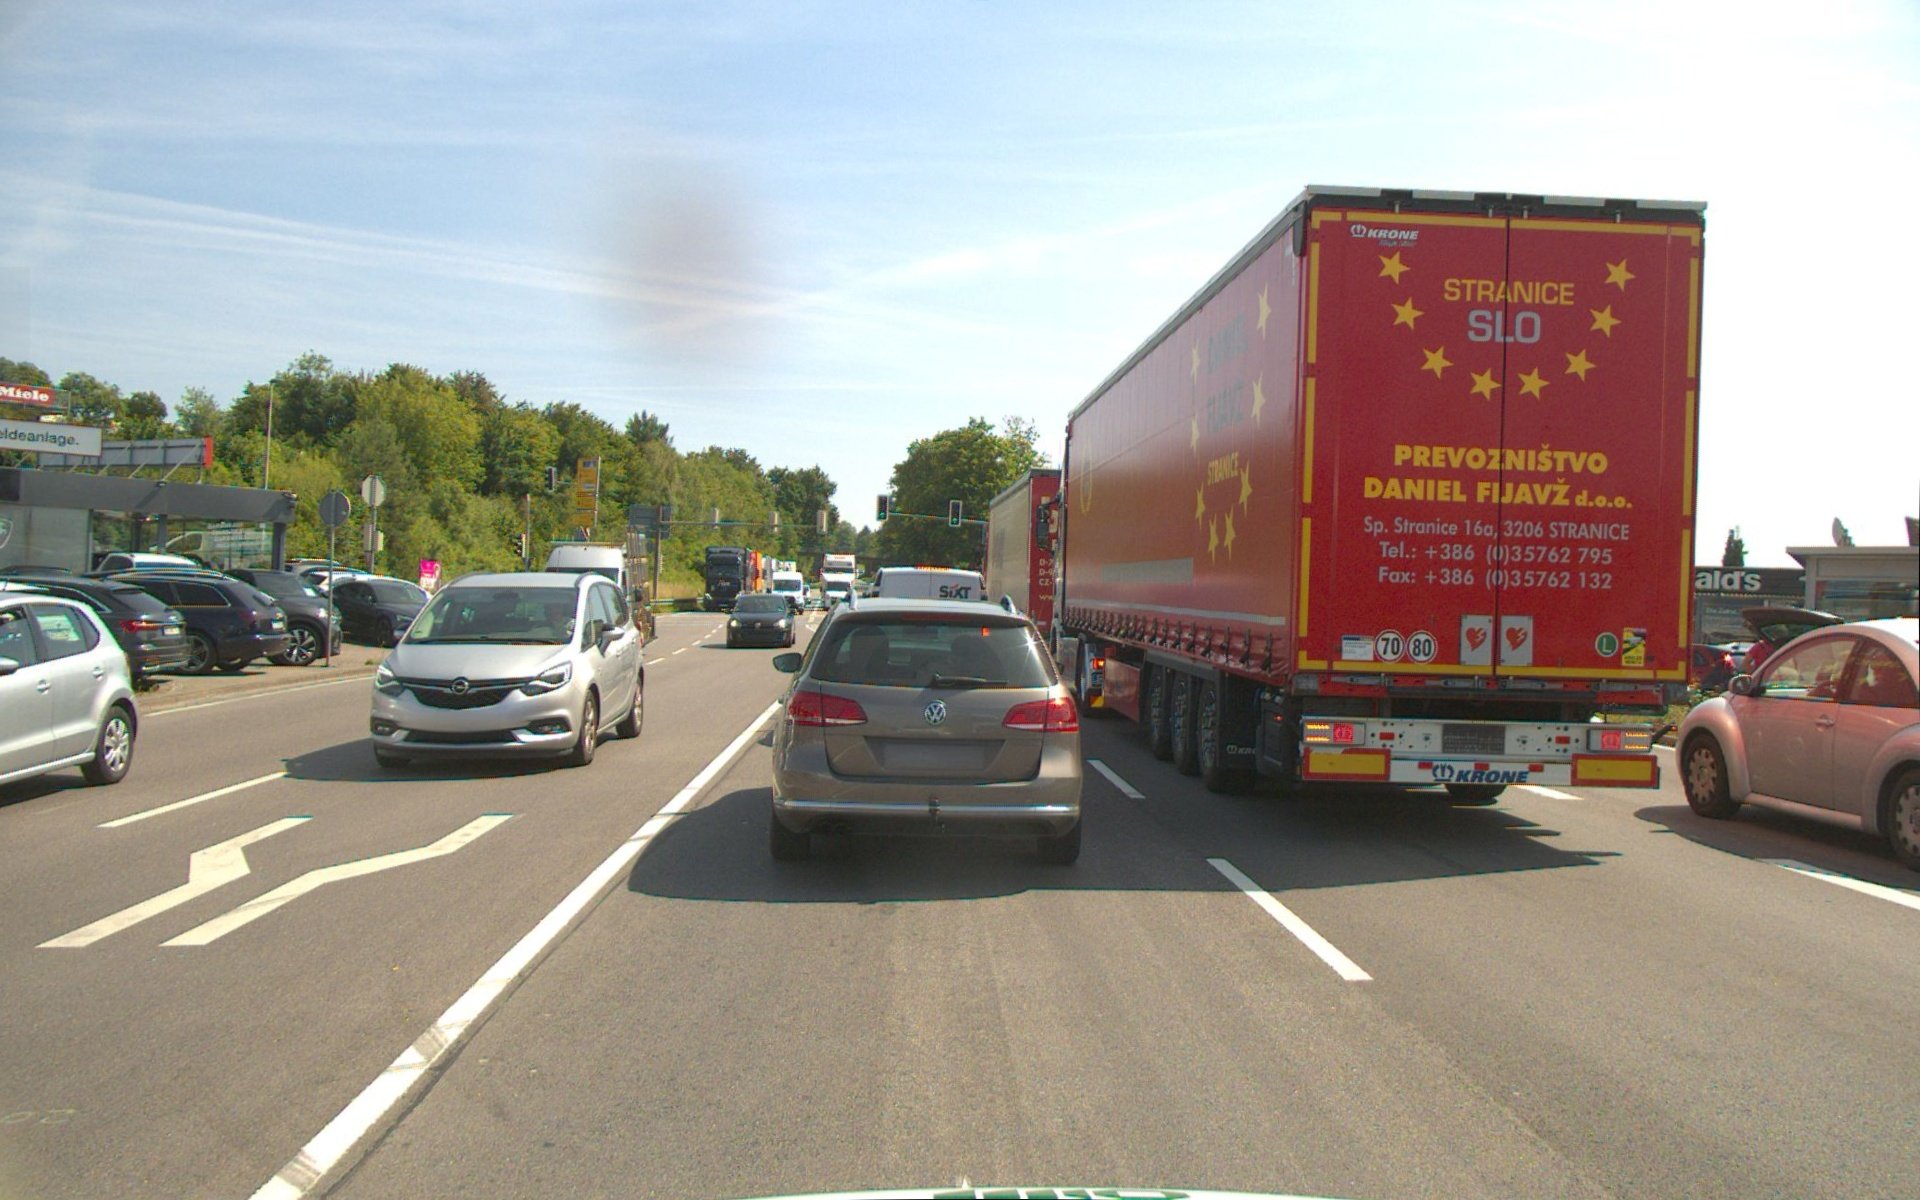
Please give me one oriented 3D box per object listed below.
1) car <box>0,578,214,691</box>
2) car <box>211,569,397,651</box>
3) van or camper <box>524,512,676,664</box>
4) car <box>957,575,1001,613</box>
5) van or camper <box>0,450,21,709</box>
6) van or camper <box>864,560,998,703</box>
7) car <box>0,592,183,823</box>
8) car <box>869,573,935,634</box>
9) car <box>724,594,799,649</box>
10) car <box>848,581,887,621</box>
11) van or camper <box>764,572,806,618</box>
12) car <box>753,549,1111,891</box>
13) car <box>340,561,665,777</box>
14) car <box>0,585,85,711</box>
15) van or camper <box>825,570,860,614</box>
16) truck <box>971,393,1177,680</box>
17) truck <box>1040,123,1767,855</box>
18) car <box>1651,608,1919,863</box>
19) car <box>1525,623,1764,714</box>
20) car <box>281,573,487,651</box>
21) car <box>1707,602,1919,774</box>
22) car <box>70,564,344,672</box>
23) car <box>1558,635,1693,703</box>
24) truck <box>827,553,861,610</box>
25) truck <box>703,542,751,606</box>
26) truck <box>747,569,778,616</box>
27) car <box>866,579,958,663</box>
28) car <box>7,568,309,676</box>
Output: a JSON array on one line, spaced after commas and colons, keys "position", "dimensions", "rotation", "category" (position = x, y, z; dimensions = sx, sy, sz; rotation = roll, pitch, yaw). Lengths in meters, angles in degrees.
[{"position": [-12.575, 0.444, 22.793], "dimensions": [3.740, 1.473, 1.841], "rotation": [1, 0, -3], "category": "car"}, {"position": [-14.661, 0.201, 36.965], "dimensions": [3.743, 1.723, 1.840], "rotation": [1, 0, 27], "category": "car"}, {"position": [-8.153, -0.255, 38.058], "dimensions": [2.163, 3.109, 5.901], "rotation": [3, 0, -1], "category": "van or camper"}, {"position": [0.820, -0.249, 73.686], "dimensions": [1.692, 1.545, 3.310], "rotation": [2, -1, -3], "category": "car"}, {"position": [-13.701, -0.292, 17.819], "dimensions": [5.772, 2.923, 2.289], "rotation": [1, 1, -1], "category": "van or camper"}, {"position": [-0.486, 0.432, 24.830], "dimensions": [1.815, 1.939, 3.782], "rotation": [2, 0, -3], "category": "van or camper"}, {"position": [-7.068, 0.682, 11.113], "dimensions": [1.799, 1.473, 4.080], "rotation": [1, 0, -1], "category": "car"}, {"position": [-1.560, 0.104, 45.068], "dimensions": [1.692, 1.545, 3.311], "rotation": [2, -1, -1], "category": "car"}, {"position": [-5.428, 0.551, 45.604], "dimensions": [1.632, 1.434, 3.925], "rotation": [0, 0, -1], "category": "car"}, {"position": [-4.755, 0.063, 85.484], "dimensions": [1.691, 1.942, 3.312], "rotation": [2, -1, 1], "category": "car"}, {"position": [-10.360, -0.279, 98.111], "dimensions": [2.130, 2.596, 4.168], "rotation": [2, 0, -3], "category": "van or camper"}, {"position": [-0.106, 0.596, 9.932], "dimensions": [1.753, 1.667, 3.504], "rotation": [1, 0, 1], "category": "car"}, {"position": [-3.999, 0.540, 15.209], "dimensions": [1.870, 1.692, 4.180], "rotation": [0, 0, -1], "category": "car"}, {"position": [-13.006, 0.532, 20.092], "dimensions": [3.740, 1.473, 1.841], "rotation": [1, 0, -3], "category": "car"}, {"position": [-8.204, -0.531, 116.072], "dimensions": [2.179, 2.890, 5.708], "rotation": [2, -1, -2], "category": "van or camper"}, {"position": [2.208, -1.233, 39.635], "dimensions": [3.001, 5.312, 16.999], "rotation": [2, 0, -2], "category": "truck"}, {"position": [3.100, -0.694, 18.296], "dimensions": [2.898, 4.344, 16.576], "rotation": [2, 0, -2], "category": "truck"}, {"position": [6.416, 0.823, 11.055], "dimensions": [1.627, 1.497, 3.995], "rotation": [1, 0, -6], "category": "car"}, {"position": [13.401, 1.306, 32.587], "dimensions": [1.973, 1.558, 3.959], "rotation": [2, 0, -31], "category": "car"}, {"position": [-13.483, 0.254, 38.670], "dimensions": [4.428, 1.723, 2.128], "rotation": [1, 0, 29], "category": "car"}, {"position": [11.342, 1.056, 20.648], "dimensions": [3.788, 1.954, 1.688], "rotation": [2, 0, -27], "category": "car"}, {"position": [-12.587, 0.292, 27.828], "dimensions": [3.740, 1.704, 1.841], "rotation": [1, 0, -3], "category": "car"}, {"position": [16.733, 1.687, 41.483], "dimensions": [1.710, 1.562, 4.008], "rotation": [2, 0, 45], "category": "car"}, {"position": [-9.145, -1.433, 130.818], "dimensions": [2.501, 4.383, 7.592], "rotation": [0, 0, -2], "category": "truck"}, {"position": [-14.598, -1.599, 104.085], "dimensions": [2.759, 3.852, 6.981], "rotation": [0, 0, -6], "category": "truck"}, {"position": [-16.724, -0.631, 140.577], "dimensions": [2.484, 3.852, 6.981], "rotation": [0, 0, -6], "category": "truck"}, {"position": [-0.921, 0.416, 32.886], "dimensions": [1.692, 1.545, 3.311], "rotation": [2, -1, -1], "category": "car"}, {"position": [-12.272, 0.326, 25.506], "dimensions": [3.740, 1.566, 1.841], "rotation": [1, 0, -3], "category": "car"}]
